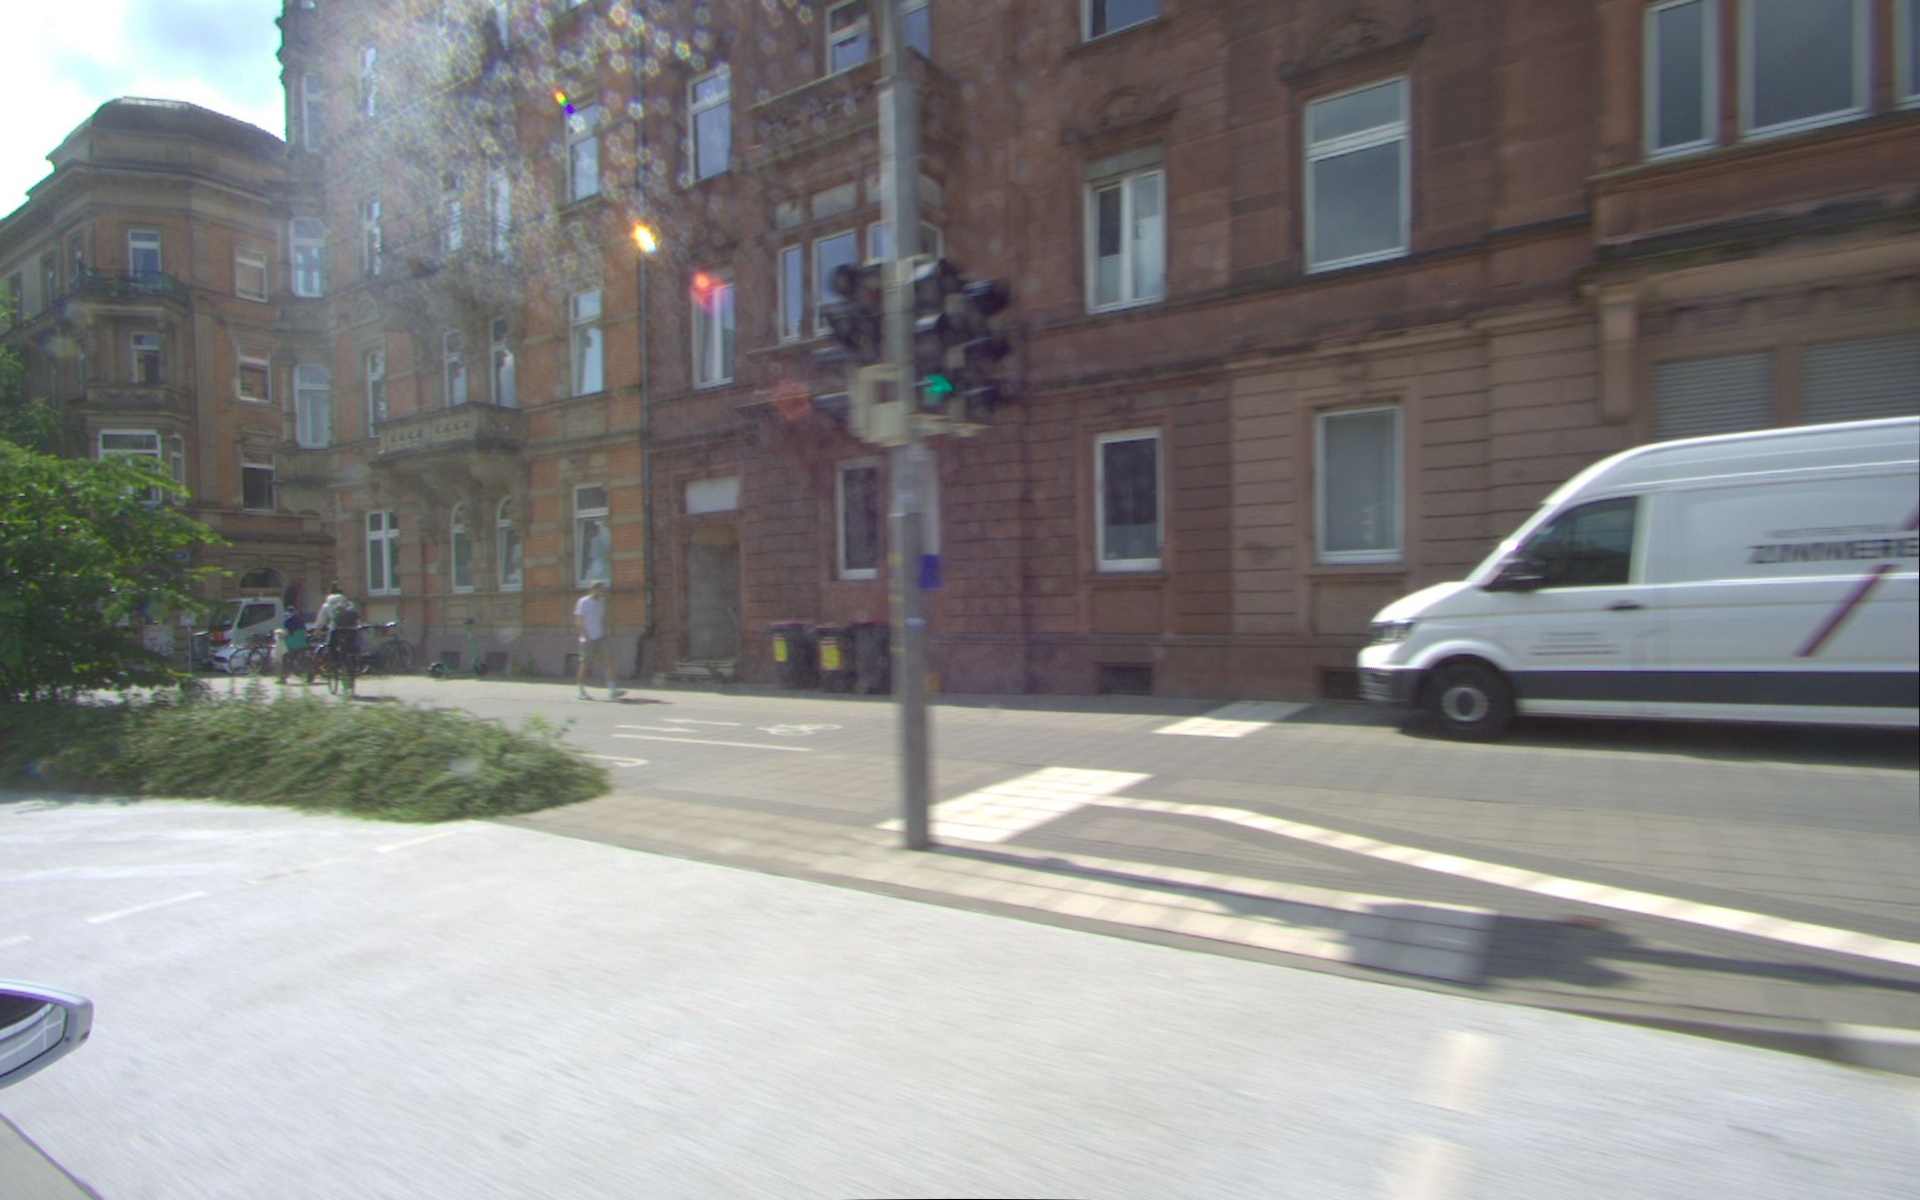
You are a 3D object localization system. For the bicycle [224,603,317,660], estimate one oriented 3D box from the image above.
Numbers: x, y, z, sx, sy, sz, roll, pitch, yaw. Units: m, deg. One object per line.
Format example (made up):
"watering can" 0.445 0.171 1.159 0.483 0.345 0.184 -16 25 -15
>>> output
"bicycle" -16.385 0.731 23.835 0.460 1.285 1.763 3 2 36

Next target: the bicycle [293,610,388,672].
"bicycle" -13.662 0.889 22.131 0.460 1.285 1.763 3 2 36

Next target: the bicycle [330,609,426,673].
"bicycle" -12.529 0.861 21.592 0.460 1.285 1.763 3 2 36

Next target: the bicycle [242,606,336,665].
"bicycle" -15.535 0.800 23.221 0.460 1.285 1.763 3 2 36

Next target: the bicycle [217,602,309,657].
"bicycle" -16.812 0.690 24.193 0.460 1.285 1.763 3 2 36

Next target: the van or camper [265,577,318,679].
"van or camper" -13.635 0.556 20.423 0.629 2.041 0.664 0 1 33

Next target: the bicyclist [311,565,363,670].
"bicyclist" -10.617 0.297 17.061 0.816 1.741 0.426 0 1 34

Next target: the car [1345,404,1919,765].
"car" 6.518 -0.101 8.493 5.806 2.559 1.988 0 0 34

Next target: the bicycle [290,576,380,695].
"bicycle" -10.633 0.584 17.036 1.568 1.951 0.681 0 1 34

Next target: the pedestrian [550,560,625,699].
"pedestrian" -5.656 0.435 15.231 0.705 2.041 0.765 0 1 34

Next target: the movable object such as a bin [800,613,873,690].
"movable object such as a bin" -1.885 0.767 15.307 0.765 1.122 0.784 -1 1 31

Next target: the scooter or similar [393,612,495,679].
"scooter or similar" -10.337 0.885 20.120 0.460 1.201 1.764 -1 2 33

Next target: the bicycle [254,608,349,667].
"bicycle" -15.022 0.834 22.883 0.460 1.285 1.763 3 2 36

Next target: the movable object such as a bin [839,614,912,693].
"movable object such as a bin" -1.255 0.777 14.909 0.765 1.122 0.784 -1 1 31

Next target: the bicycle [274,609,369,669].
"bicycle" -14.322 0.854 22.510 0.460 1.285 1.763 3 2 36

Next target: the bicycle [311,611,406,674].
"bicycle" -13.069 0.899 21.817 0.460 1.285 1.739 3 2 36

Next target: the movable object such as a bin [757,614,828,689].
"movable object such as a bin" -2.629 0.799 15.780 0.765 1.122 0.784 -1 1 31
